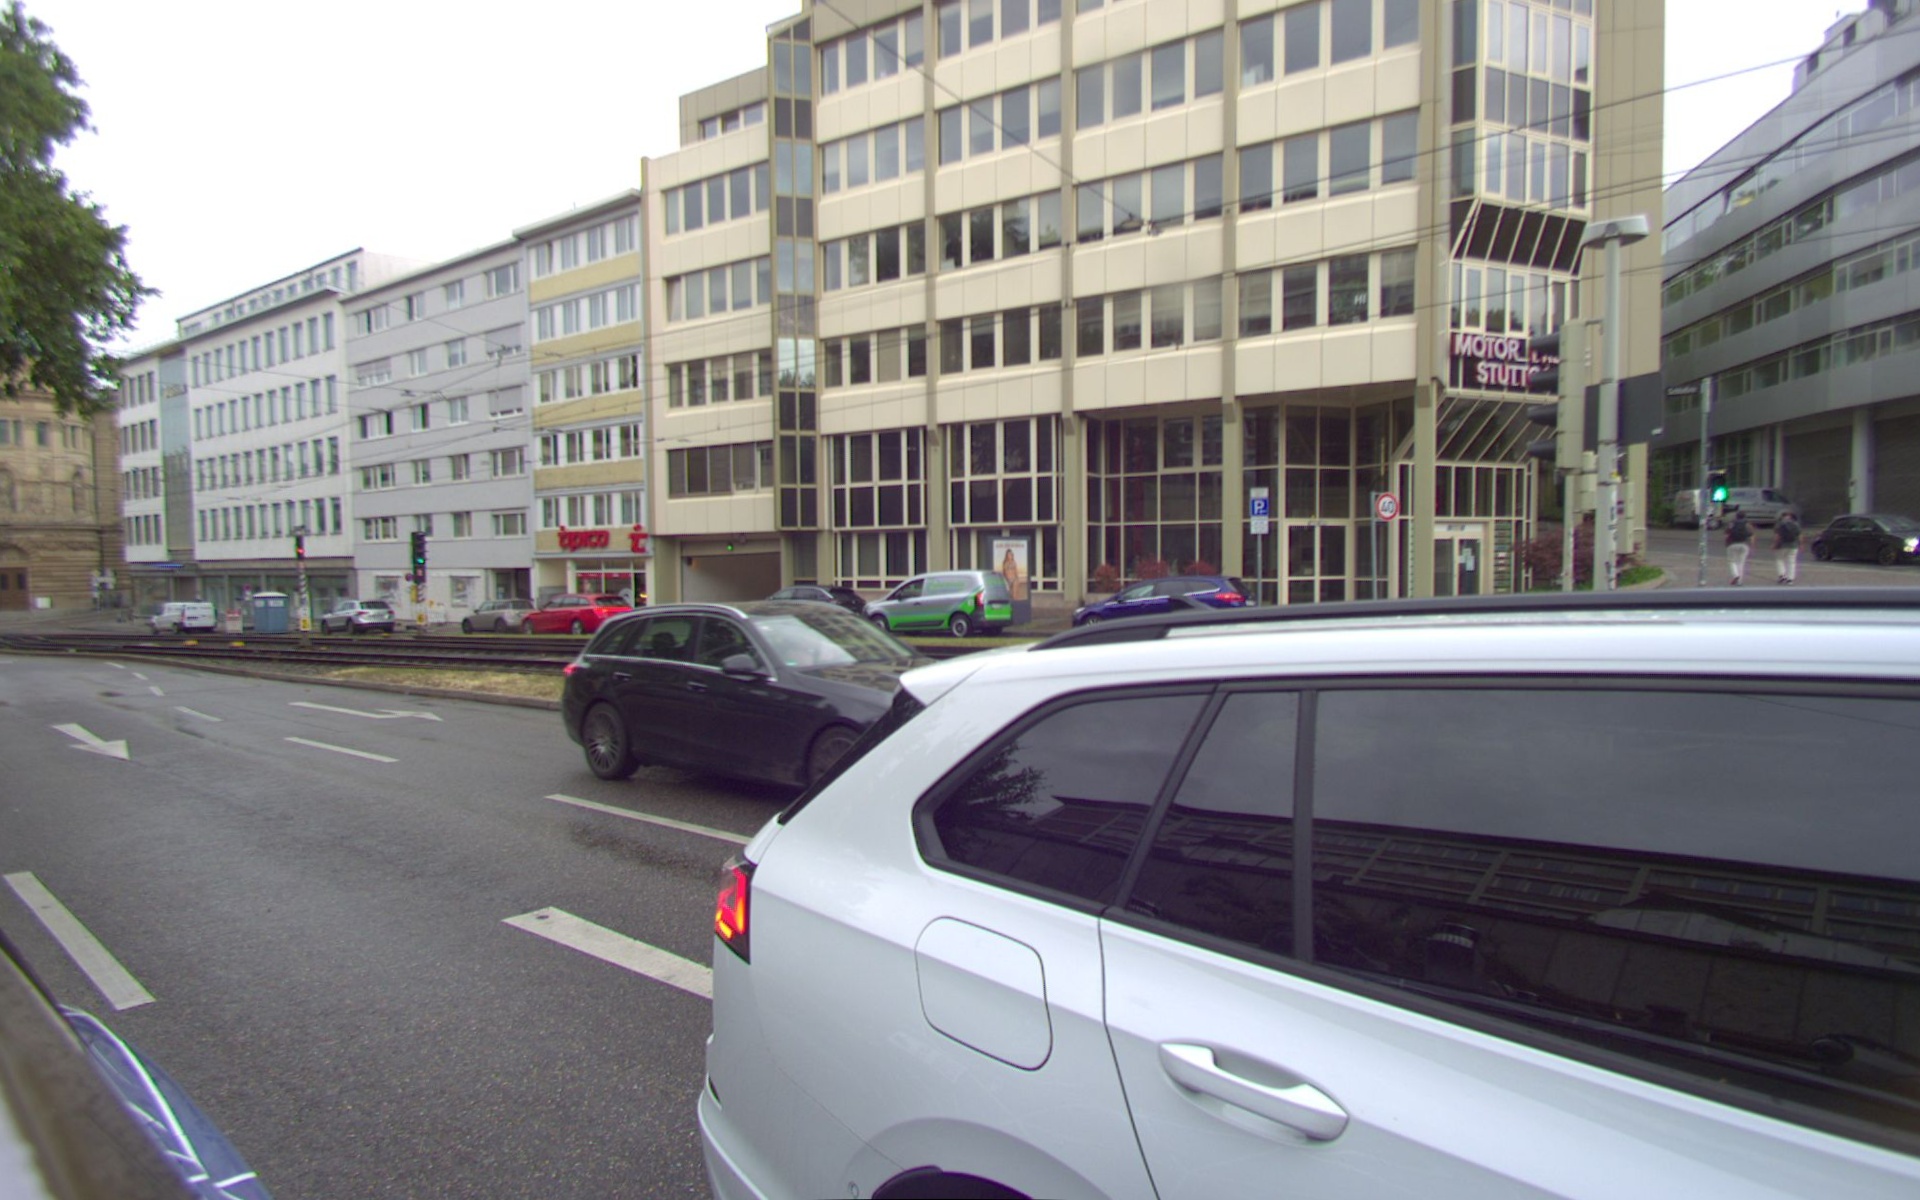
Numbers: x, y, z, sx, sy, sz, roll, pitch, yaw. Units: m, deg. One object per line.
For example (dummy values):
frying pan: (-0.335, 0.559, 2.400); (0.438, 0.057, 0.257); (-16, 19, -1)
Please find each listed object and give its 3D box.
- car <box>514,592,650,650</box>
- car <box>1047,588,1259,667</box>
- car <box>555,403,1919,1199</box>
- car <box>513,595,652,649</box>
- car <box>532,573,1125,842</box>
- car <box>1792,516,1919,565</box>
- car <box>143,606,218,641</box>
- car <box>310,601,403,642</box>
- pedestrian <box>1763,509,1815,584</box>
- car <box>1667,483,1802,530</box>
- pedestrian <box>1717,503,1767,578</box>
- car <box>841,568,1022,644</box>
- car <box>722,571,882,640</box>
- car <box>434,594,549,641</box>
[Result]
car: (-12.212, 0.626, 32.641); (4.407, 1.652, 1.963); (0, 3, 36)
car: (4.547, 0.589, 24.077); (4.536, 1.593, 1.978); (0, 4, 34)
car: (1.341, 0.628, 1.281); (4.251, 1.588, 1.662); (-1, 1, 41)
car: (-12.186, 0.656, 32.590); (4.315, 1.498, 1.978); (0, 4, 33)
car: (-1.241, 0.648, 8.013); (4.638, 1.478, 1.974); (-2, 2, 39)
car: (27.617, -1.805, 30.384); (1.803, 1.374, 4.004); (-2, 3, -3)
car: (-46.817, 1.368, 60.759); (5.117, 1.856, 1.978); (0, 4, 34)
car: (-28.340, 1.021, 47.446); (4.686, 1.686, 1.977); (-2, 3, 36)
pedestrian: (20.499, -1.321, 25.037); (0.804, 1.800, 0.637); (-1, 3, 18)
car: (37.366, -4.481, 48.917); (4.779, 2.028, 1.996); (-2, 3, 8)
pedestrian: (19.476, -1.476, 25.215); (0.804, 1.800, 0.637); (-1, 3, 18)
car: (-0.831, 0.135, 28.012); (4.682, 1.863, 1.978); (0, 4, 34)
car: (-4.861, 0.138, 30.927); (4.682, 1.863, 1.978); (0, 4, 34)
car: (-18.928, 0.675, 40.844); (4.682, 1.686, 1.978); (0, 4, 34)
